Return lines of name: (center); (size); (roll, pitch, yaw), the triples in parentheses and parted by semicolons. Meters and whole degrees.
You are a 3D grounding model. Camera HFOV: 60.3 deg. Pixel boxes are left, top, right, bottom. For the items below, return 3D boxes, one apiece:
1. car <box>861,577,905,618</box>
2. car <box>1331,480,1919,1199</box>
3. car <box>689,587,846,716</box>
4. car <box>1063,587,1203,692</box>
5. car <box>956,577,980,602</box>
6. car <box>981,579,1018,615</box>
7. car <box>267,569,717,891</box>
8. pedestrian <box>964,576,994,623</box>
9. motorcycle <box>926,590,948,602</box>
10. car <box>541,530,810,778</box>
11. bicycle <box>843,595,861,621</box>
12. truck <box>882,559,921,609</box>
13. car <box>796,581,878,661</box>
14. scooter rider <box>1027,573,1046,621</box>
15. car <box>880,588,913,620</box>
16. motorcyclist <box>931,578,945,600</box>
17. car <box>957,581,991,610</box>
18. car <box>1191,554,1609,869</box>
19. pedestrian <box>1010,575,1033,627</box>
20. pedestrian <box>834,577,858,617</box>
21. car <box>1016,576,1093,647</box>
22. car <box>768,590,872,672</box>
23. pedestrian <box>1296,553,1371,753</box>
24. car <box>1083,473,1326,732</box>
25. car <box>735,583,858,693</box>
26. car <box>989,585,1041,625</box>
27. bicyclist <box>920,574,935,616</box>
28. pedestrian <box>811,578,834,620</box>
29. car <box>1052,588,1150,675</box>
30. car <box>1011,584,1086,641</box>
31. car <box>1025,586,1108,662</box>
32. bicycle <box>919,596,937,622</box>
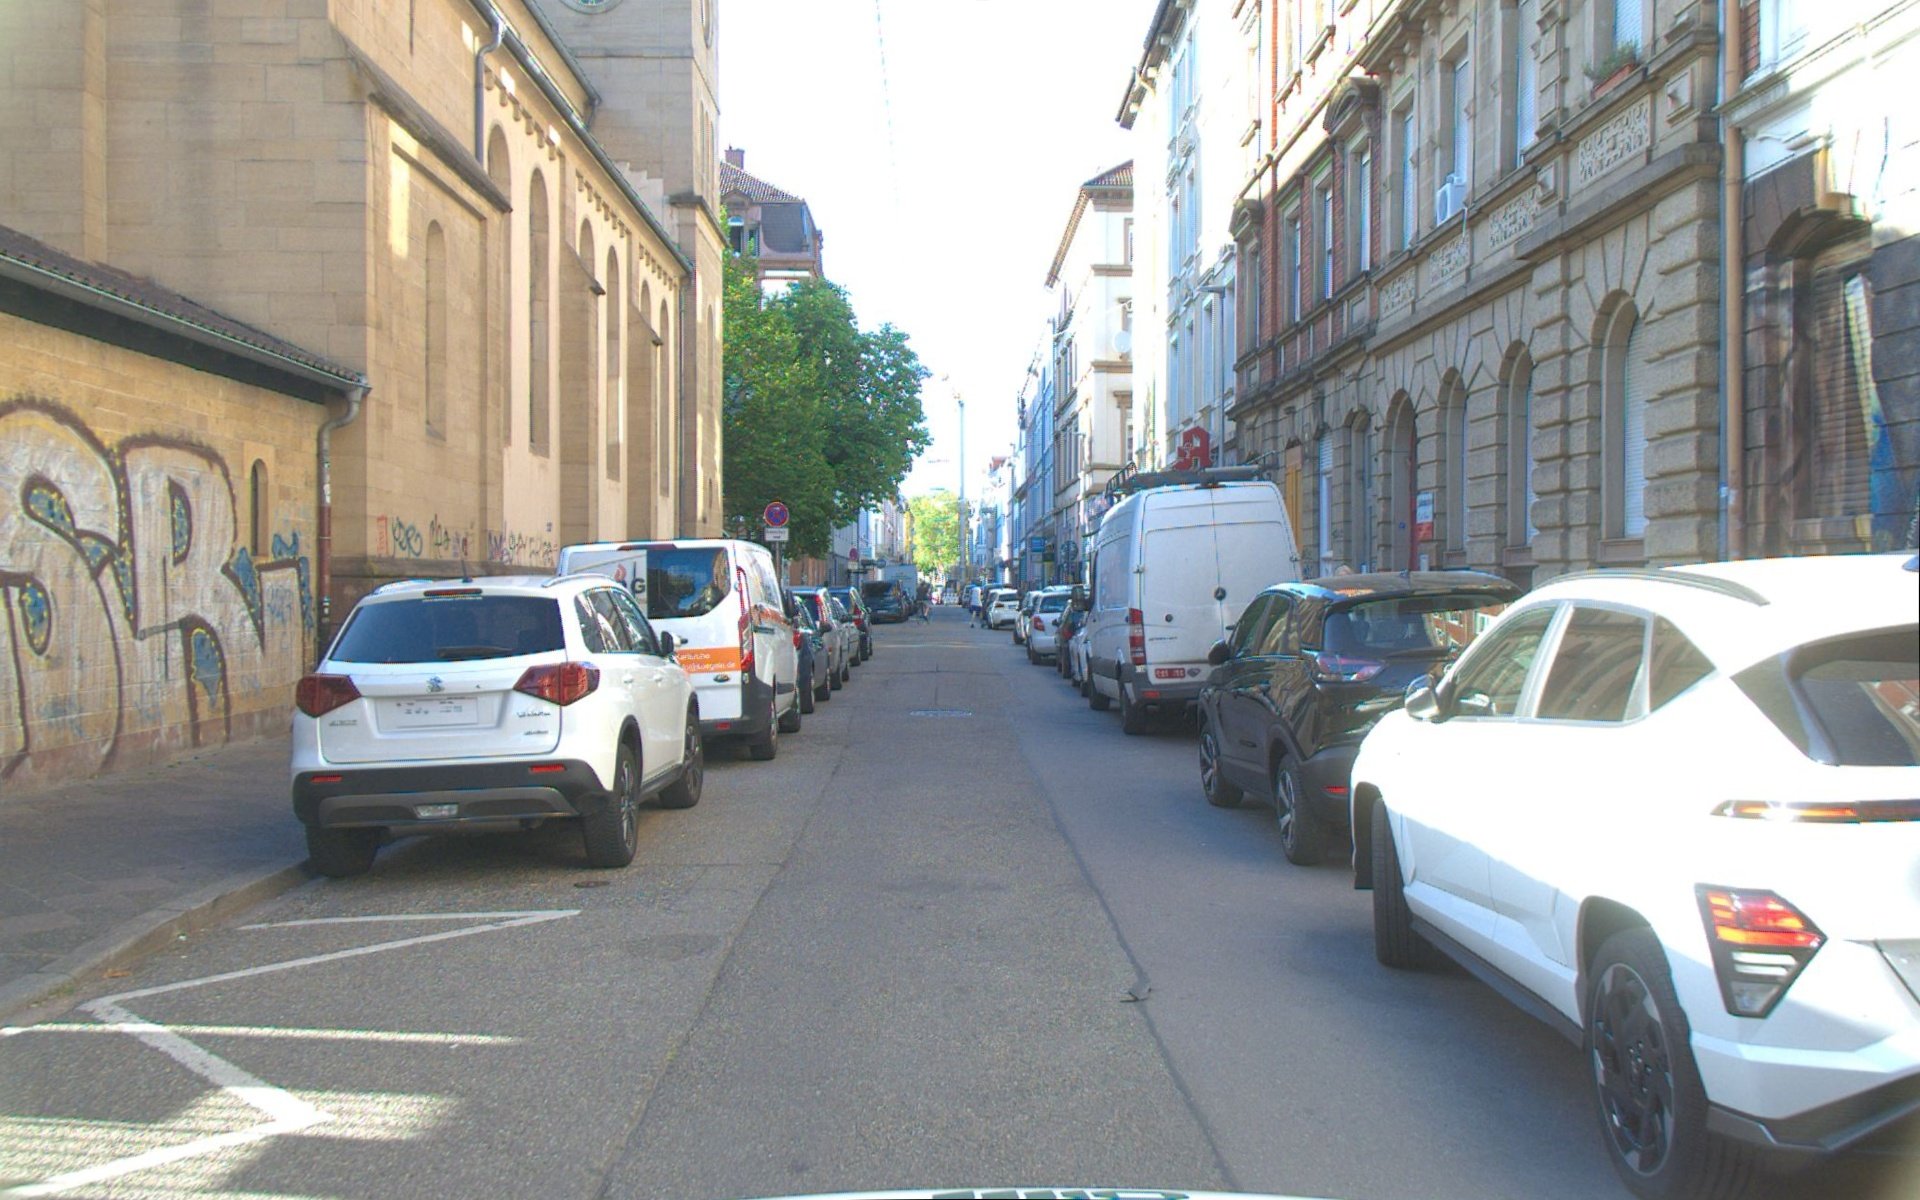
car: (-3.520, -0.116, 76.385); (1.837, 1.828, 4.000); (-1, 0, 0)
car: (2.604, 0.633, 5.496); (1.771, 1.719, 4.214); (1, 0, 0)
car: (-2.446, 0.601, 21.848); (1.582, 1.477, 3.950); (-2, 1, -1)
car: (2.675, 0.560, 26.446); (1.743, 1.512, 4.359); (1, 0, 0)
car: (0.643, -0.905, 140.529); (1.953, 2.049, 4.000); (-1, 0, 0)
car: (2.005, -0.177, 84.939); (1.733, 1.771, 4.000); (-1, 1, 0)
car: (-2.633, 0.634, 10.244); (1.707, 1.614, 3.868); (0, 0, -1)
pedestrian: (0.760, -0.029, 66.397); (0.771, 1.875, 1.006); (0, 1, 41)
motorcycle: (-2.093, -0.372, 150.290); (1.028, 0.997, 2.805); (-1, 1, -23)
car: (-2.575, 0.424, 16.071); (1.826, 1.991, 4.609); (-2, 0, -1)
bicycle: (-4.807, 0.340, 73.524); (0.633, 1.128, 1.600); (-1, 0, -11)
truck: (-4.030, -1.101, 114.711); (2.480, 3.339, 6.994); (-1, 0, 0)
car: (-2.718, 0.432, 37.216); (1.568, 1.642, 3.807); (-3, 0, -1)
scooter rider: (2.695, -0.116, 58.200); (0.636, 1.671, 0.684); (-1, 0, 5)
car: (-3.739, 0.234, 98.134); (1.837, 1.828, 4.000); (-1, 0, 0)
motorcyclist: (-2.025, -0.993, 150.164); (0.890, 2.049, 1.182); (-1, 0, -23)
car: (0.827, -0.289, 98.810); (1.953, 1.660, 4.000); (2, 0, 0)
car: (2.628, 0.576, 10.806); (1.653, 1.671, 3.924); (0, 1, -1)
pedestrian: (2.208, 0.034, 59.393); (0.669, 1.875, 0.692); (0, 0, -12)
pedestrian: (-4.832, -0.135, 70.052); (0.910, 1.666, 0.806); (-1, 0, 0)
car: (2.314, 0.266, 41.419); (1.681, 1.674, 4.000); (-1, 0, 0)
car: (-2.728, 0.571, 33.000); (1.538, 1.422, 3.809); (-4, 0, 2)
pedestrian: (3.486, 0.482, 15.421); (0.626, 1.803, 0.679); (1, 0, 15)
car: (2.726, -0.014, 19.936); (2.026, 2.656, 5.887); (0, 1, 0)
car: (-2.554, 0.552, 26.666); (1.639, 1.586, 3.999); (-2, 0, -1)
car: (2.125, 0.164, 64.480); (1.859, 1.514, 3.869); (-1, 0, 0)
bicyclist: (-1.360, -0.216, 69.368); (0.593, 1.717, 0.885); (-1, 0, -1)
pedestrian: (-5.938, -0.049, 71.674); (0.910, 1.817, 0.806); (-1, 0, 0)
car: (2.608, 0.541, 31.160); (1.537, 1.521, 3.653); (1, 0, 0)
car: (2.443, 0.306, 46.358); (1.682, 1.514, 3.867); (-1, 0, -3)
car: (2.274, 0.484, 36.063); (1.570, 1.531, 4.000); (1, 1, 1)
bicycle: (-1.352, 0.357, 69.429); (0.724, 1.062, 1.859); (-1, 0, 0)
